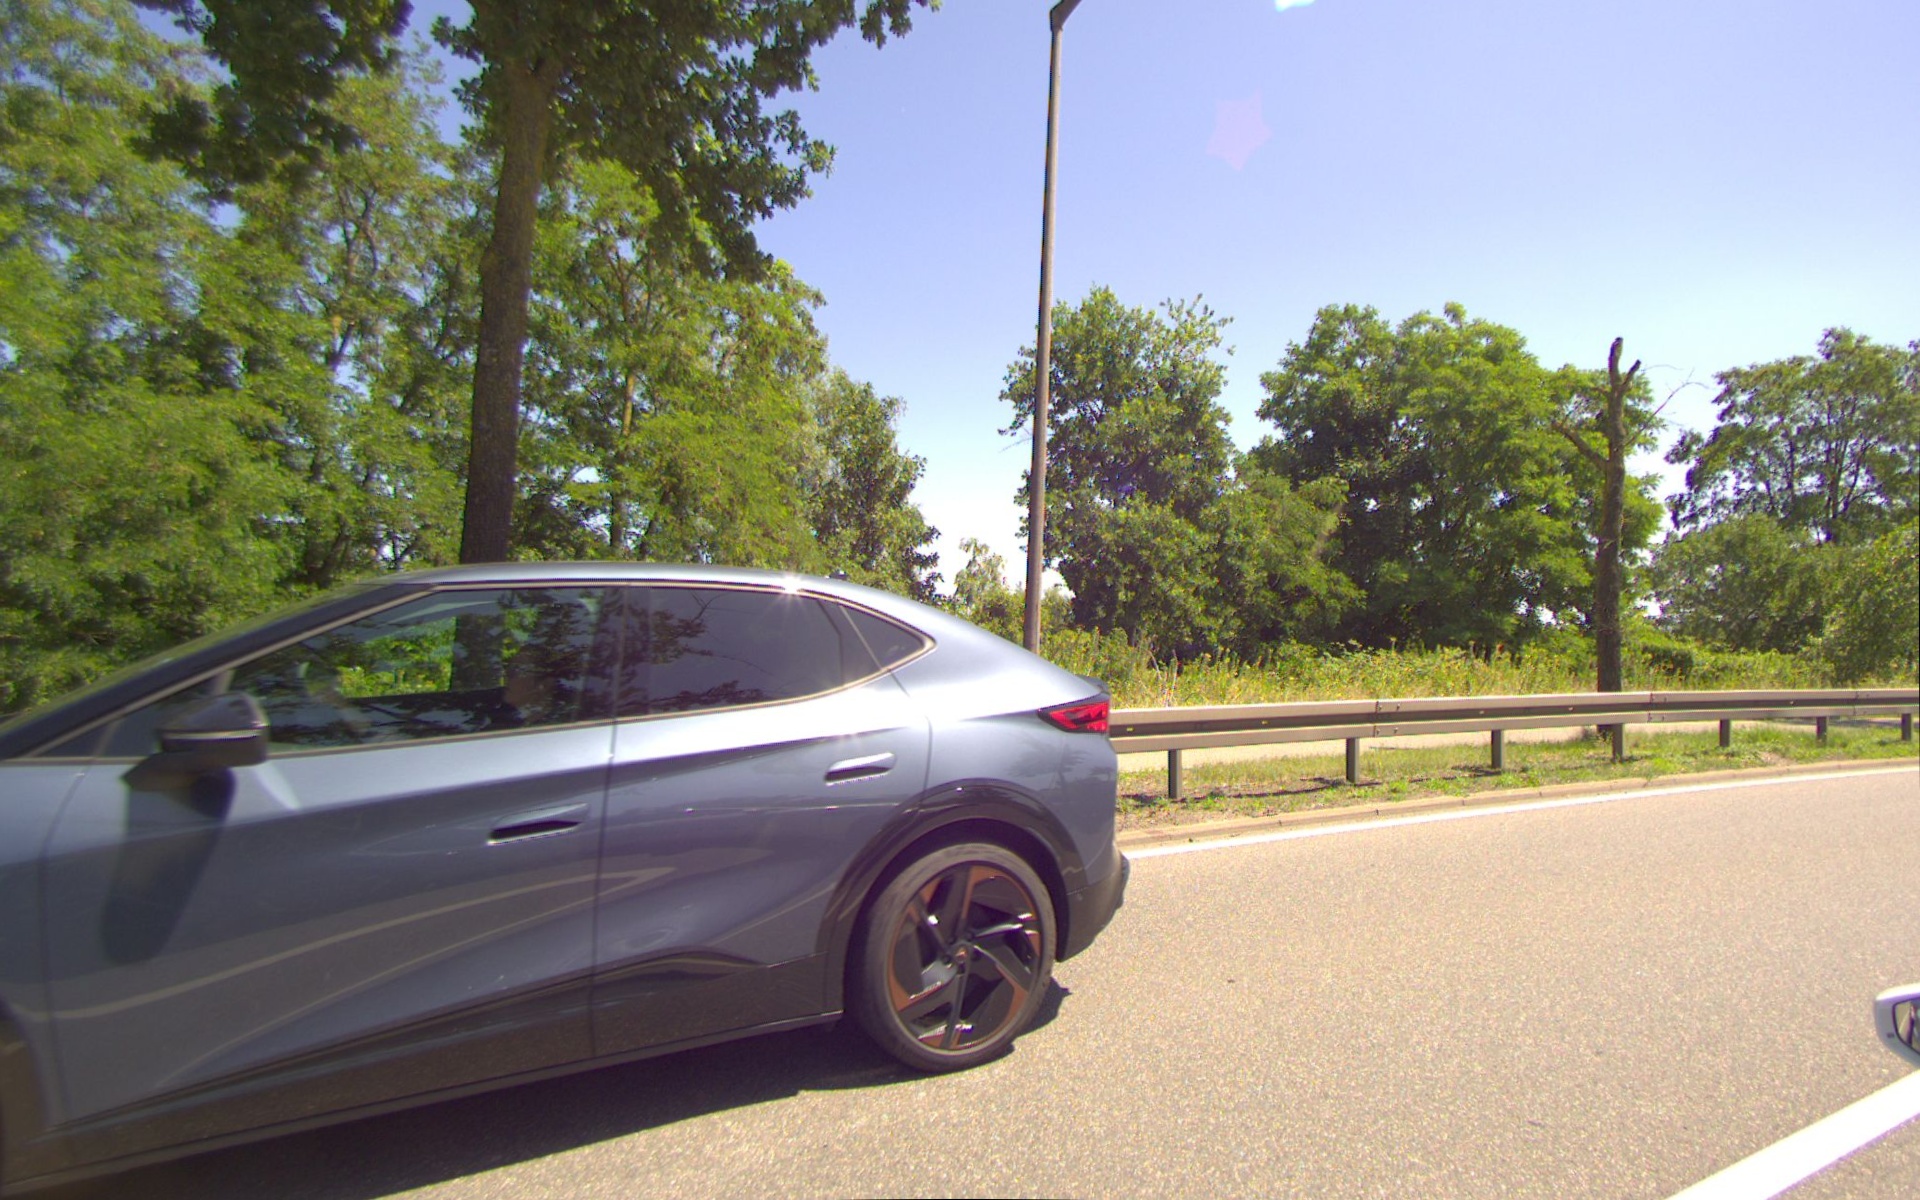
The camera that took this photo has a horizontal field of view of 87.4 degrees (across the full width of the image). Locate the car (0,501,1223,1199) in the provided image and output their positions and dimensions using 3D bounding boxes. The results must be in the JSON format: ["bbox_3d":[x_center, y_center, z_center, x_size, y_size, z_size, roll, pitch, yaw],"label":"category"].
[{"bbox_3d":[-1.394,0.625,3.358,4.340,1.625,1.861,1,0,-29],"label":"car"}]
